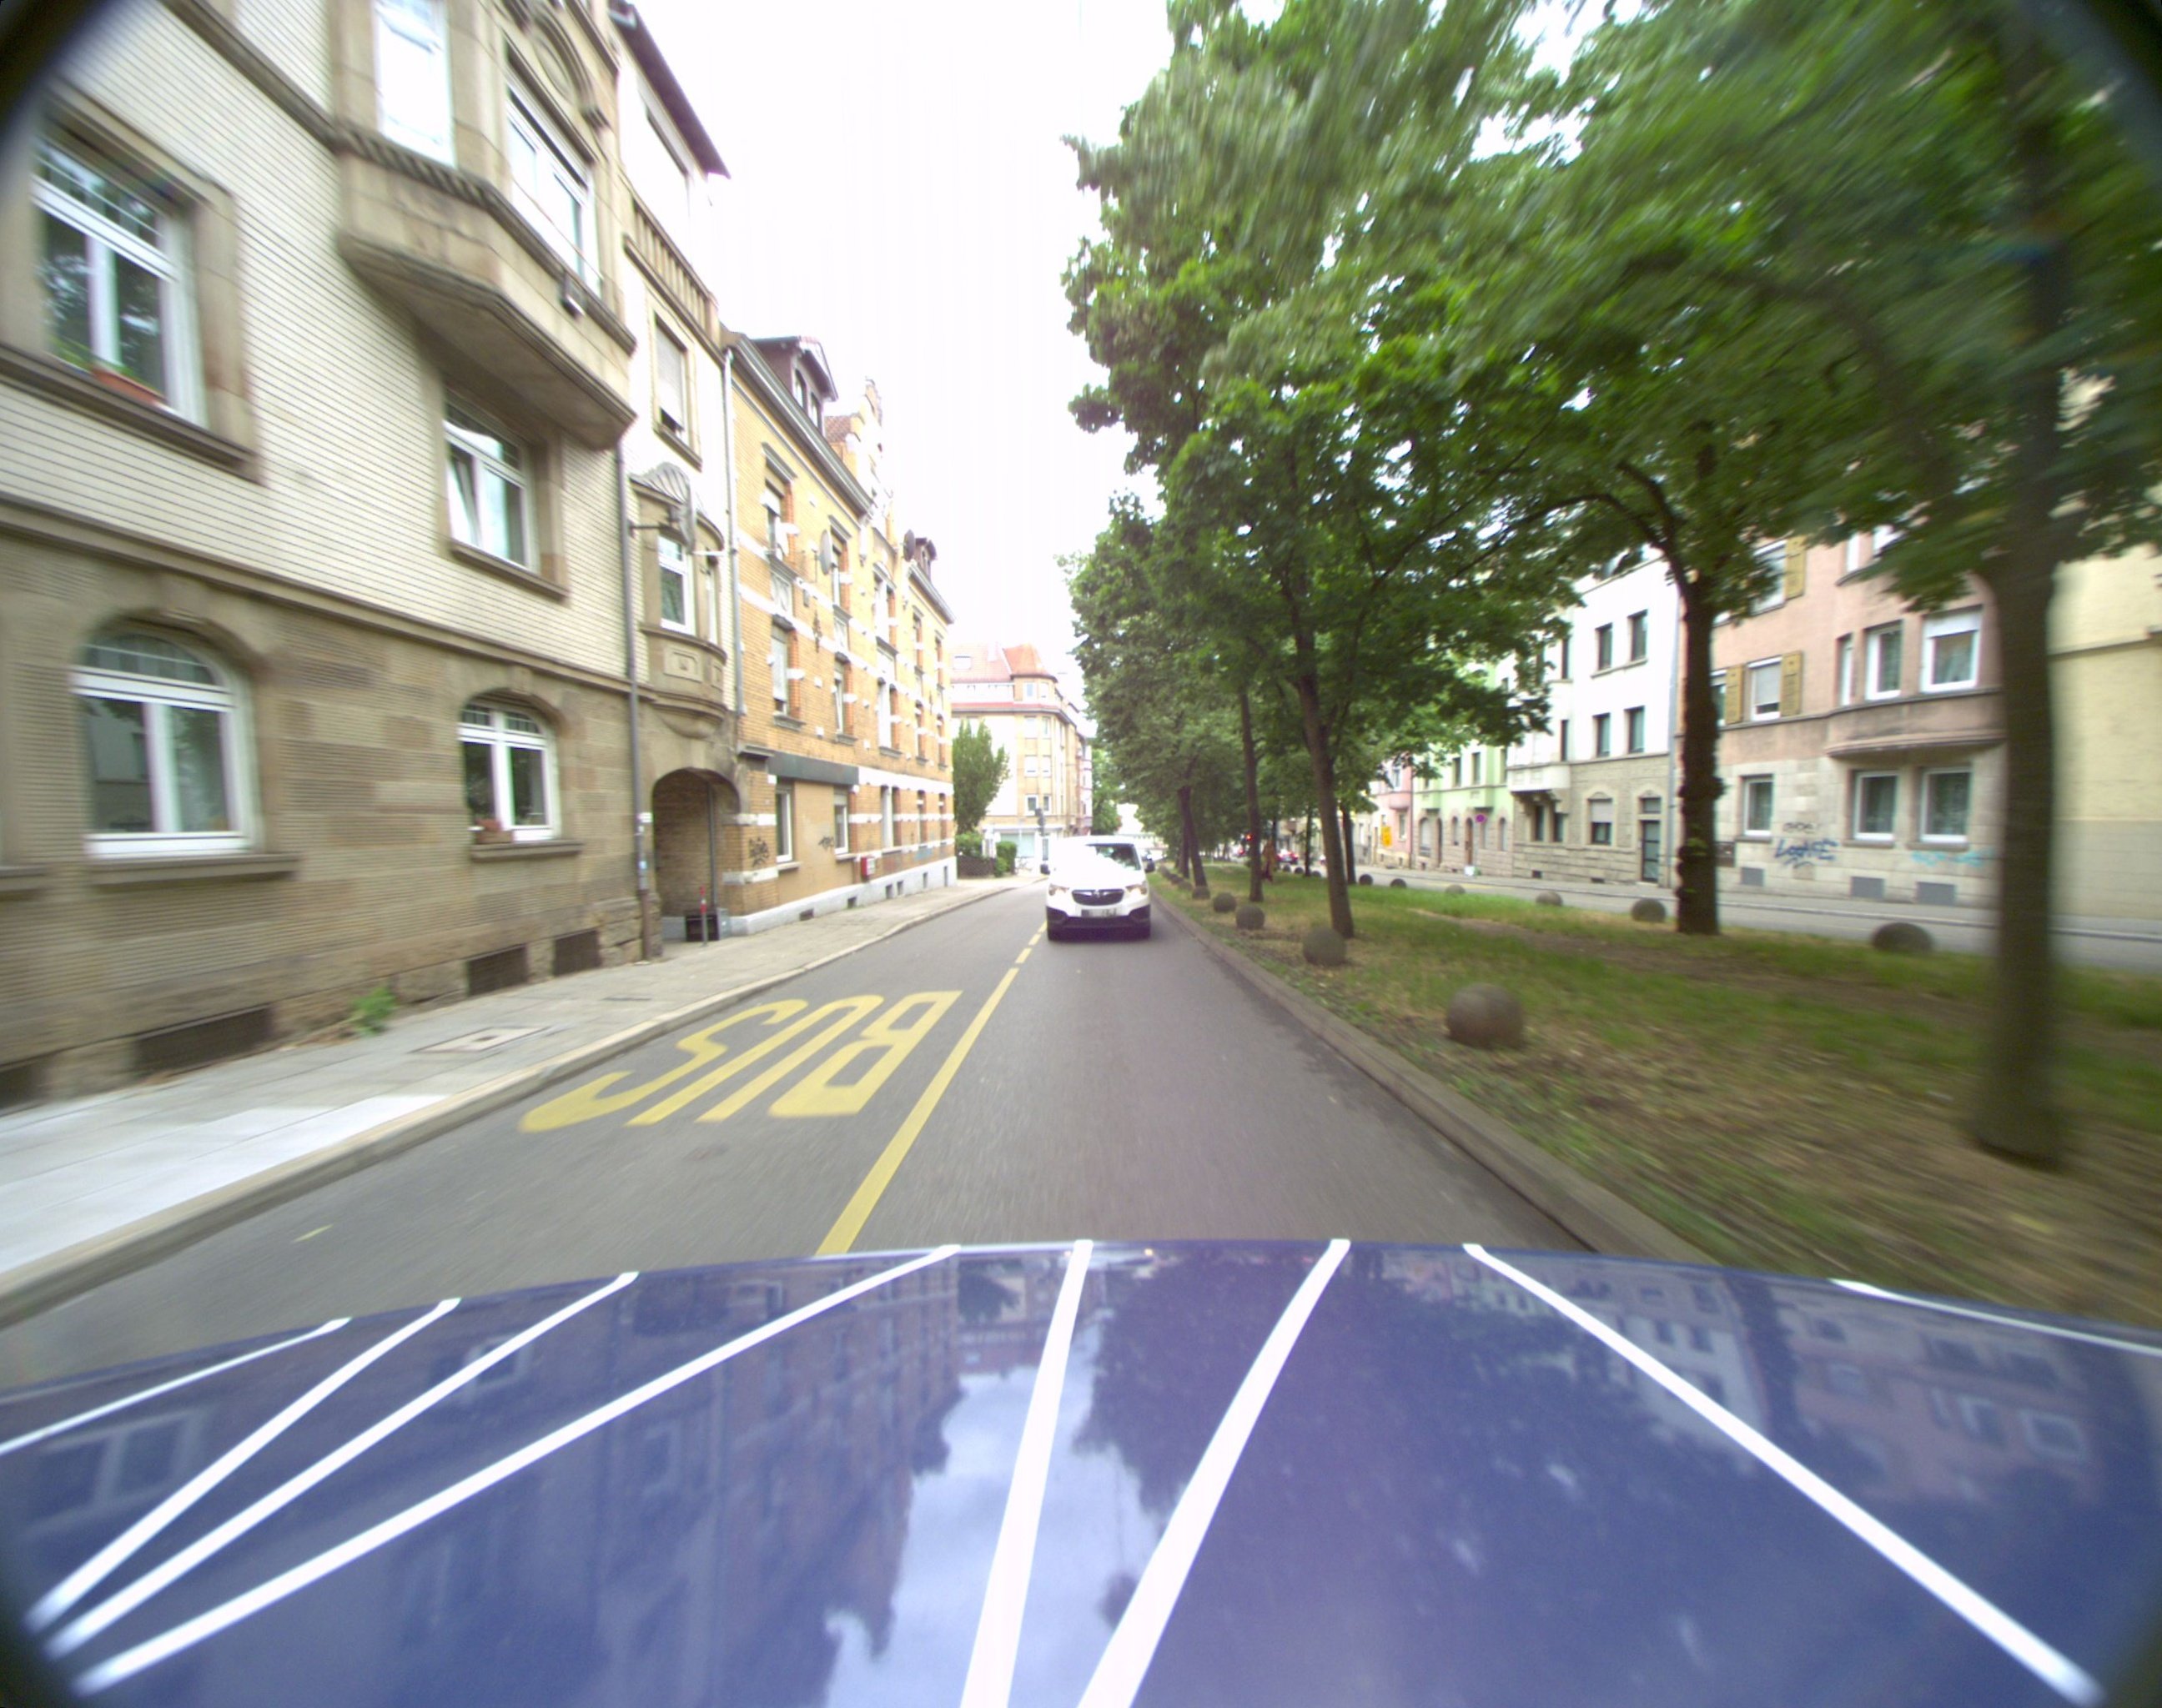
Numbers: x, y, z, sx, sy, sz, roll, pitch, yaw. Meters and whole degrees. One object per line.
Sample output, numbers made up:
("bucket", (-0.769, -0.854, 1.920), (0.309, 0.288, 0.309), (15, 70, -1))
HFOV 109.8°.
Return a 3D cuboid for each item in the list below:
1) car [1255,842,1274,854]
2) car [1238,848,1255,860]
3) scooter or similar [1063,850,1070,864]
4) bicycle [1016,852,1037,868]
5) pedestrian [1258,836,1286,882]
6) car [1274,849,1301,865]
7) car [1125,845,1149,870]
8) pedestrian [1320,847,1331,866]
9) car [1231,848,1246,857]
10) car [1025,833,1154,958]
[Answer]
("car", (22.175, -0.668, 92.014), (1.712, 1.374, 4.671), (1, 0, 7))
("car", (24.470, -0.052, 112.617), (1.819, 1.627, 4.680), (1, 2, 5))
("scooter or similar", (-1.296, 0.303, 68.410), (0.410, 1.202, 1.146), (2, -2, 6))
("bicycle", (-4.456, 0.491, 62.507), (0.642, 1.134, 2.068), (-6, 7, -38))
("pedestrian", (7.436, 0.196, 29.627), (0.835, 1.703, 1.123), (3, 3, 6))
("car", (19.213, 0.298, 70.771), (1.762, 1.374, 4.671), (1, 0, 7))
("car", (4.887, 0.267, 66.464), (1.962, 1.938, 3.956), (-2, 3, 3))
("pedestrian", (19.585, 0.194, 60.797), (0.700, 1.452, 0.704), (-2, 0, 7))
("car", (24.921, -0.269, 120.335), (1.673, 1.398, 4.295), (0, 0, 3))
("car", (0.257, 0.563, 13.528), (1.857, 1.799, 4.729), (-1, 1, 3))
